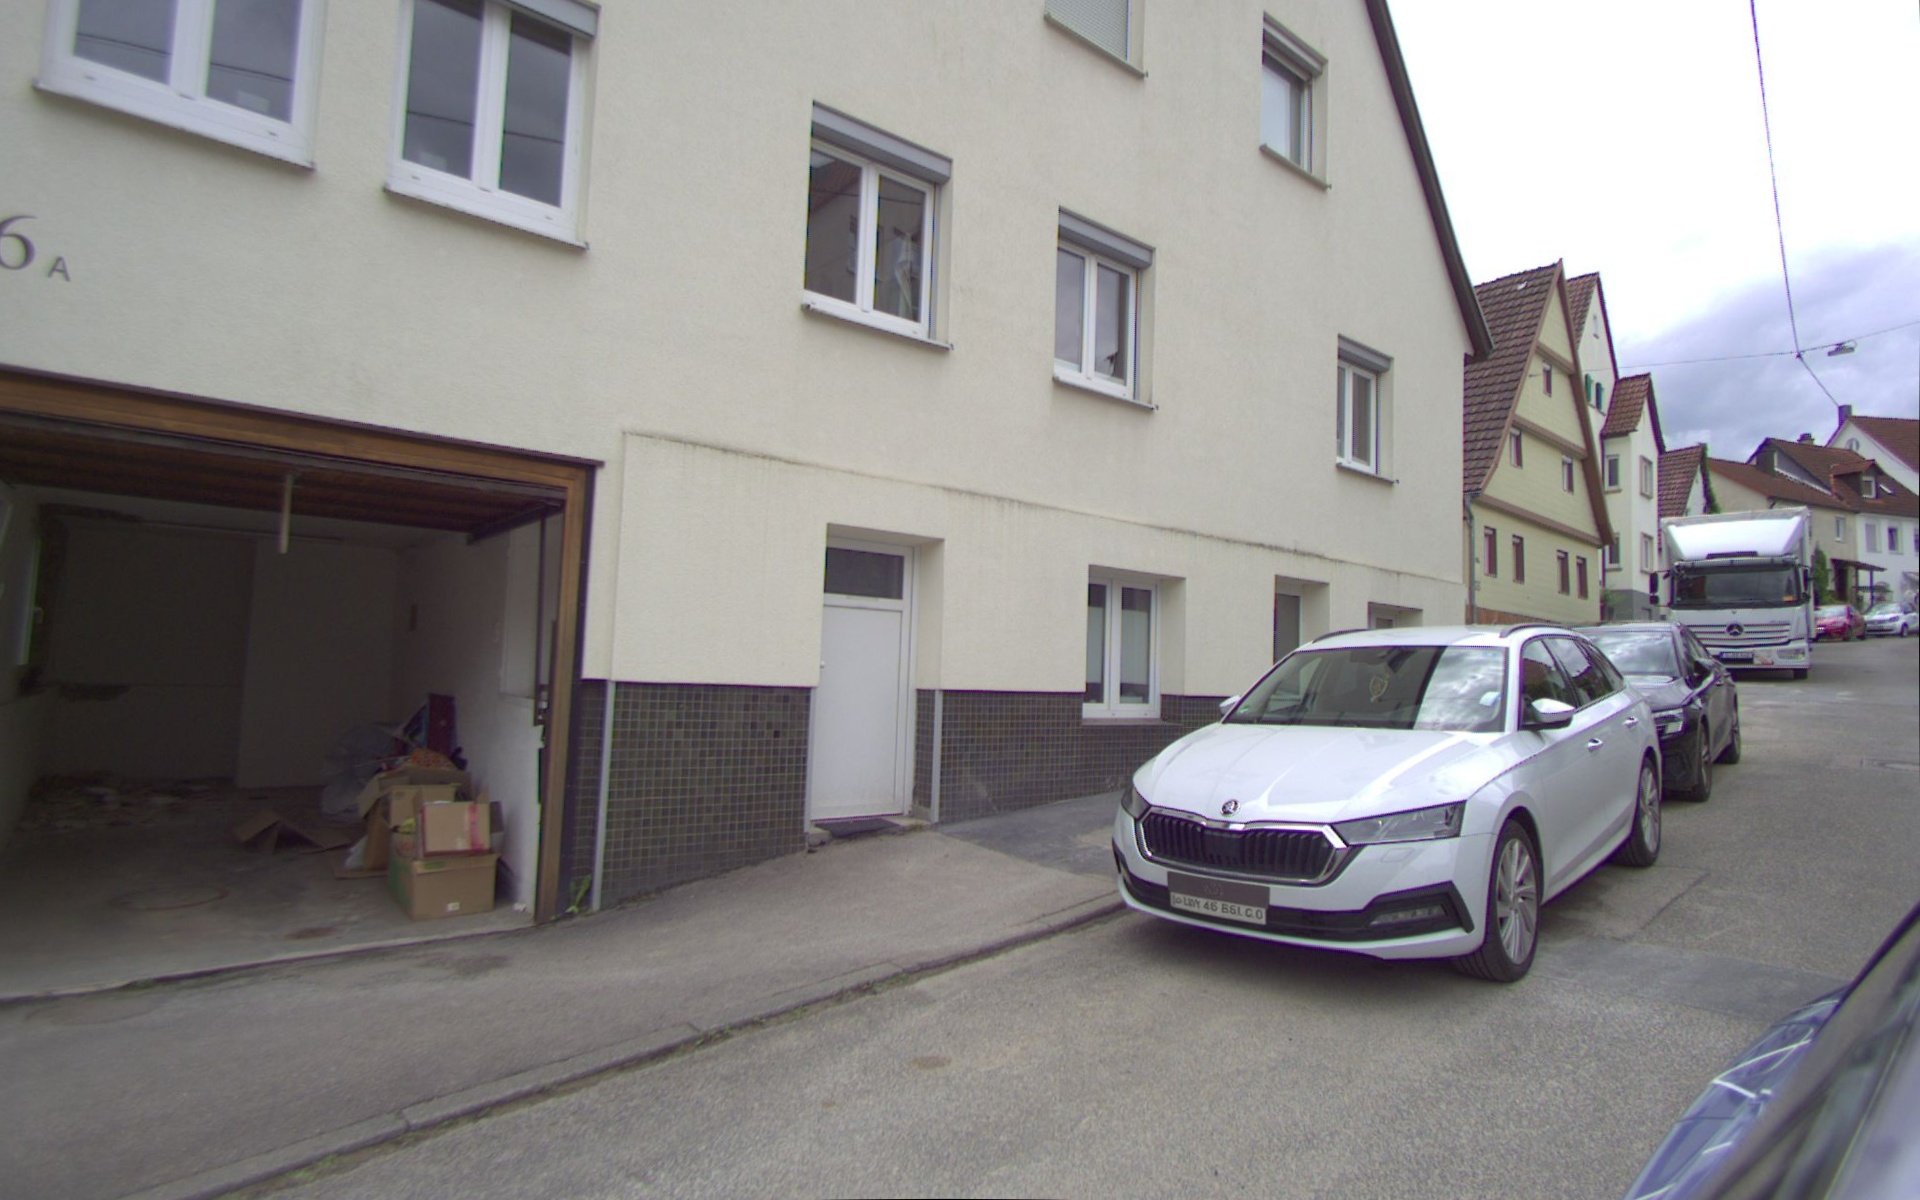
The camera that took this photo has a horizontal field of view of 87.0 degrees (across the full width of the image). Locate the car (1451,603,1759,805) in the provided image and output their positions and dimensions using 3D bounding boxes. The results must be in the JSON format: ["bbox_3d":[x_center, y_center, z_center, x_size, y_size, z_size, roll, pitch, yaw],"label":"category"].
[{"bbox_3d":[6.137,0.809,9.418,1.672,1.427,3.989,-5,-3,43],"label":"car"}]

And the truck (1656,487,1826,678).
[{"bbox_3d":[18.027,-0.365,23.256,2.672,3.642,7.989,0,0,40],"label":"truck"}]

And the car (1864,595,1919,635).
[{"bbox_3d":[40.223,0.622,43.024,2.838,1.553,1.617,0,-5,-27],"label":"car"}]

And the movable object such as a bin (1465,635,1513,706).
[{"bbox_3d":[7.507,0.993,14.366,0.464,0.928,0.534,3,2,43],"label":"movable object such as a bin"}]

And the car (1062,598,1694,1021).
[{"bbox_3d":[2.636,0.787,5.756,1.795,1.464,4.228,-4,-3,45],"label":"car"}]

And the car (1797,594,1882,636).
[{"bbox_3d":[34.128,0.568,39.237,3.781,1.471,1.682,-1,-3,-37],"label":"car"}]
